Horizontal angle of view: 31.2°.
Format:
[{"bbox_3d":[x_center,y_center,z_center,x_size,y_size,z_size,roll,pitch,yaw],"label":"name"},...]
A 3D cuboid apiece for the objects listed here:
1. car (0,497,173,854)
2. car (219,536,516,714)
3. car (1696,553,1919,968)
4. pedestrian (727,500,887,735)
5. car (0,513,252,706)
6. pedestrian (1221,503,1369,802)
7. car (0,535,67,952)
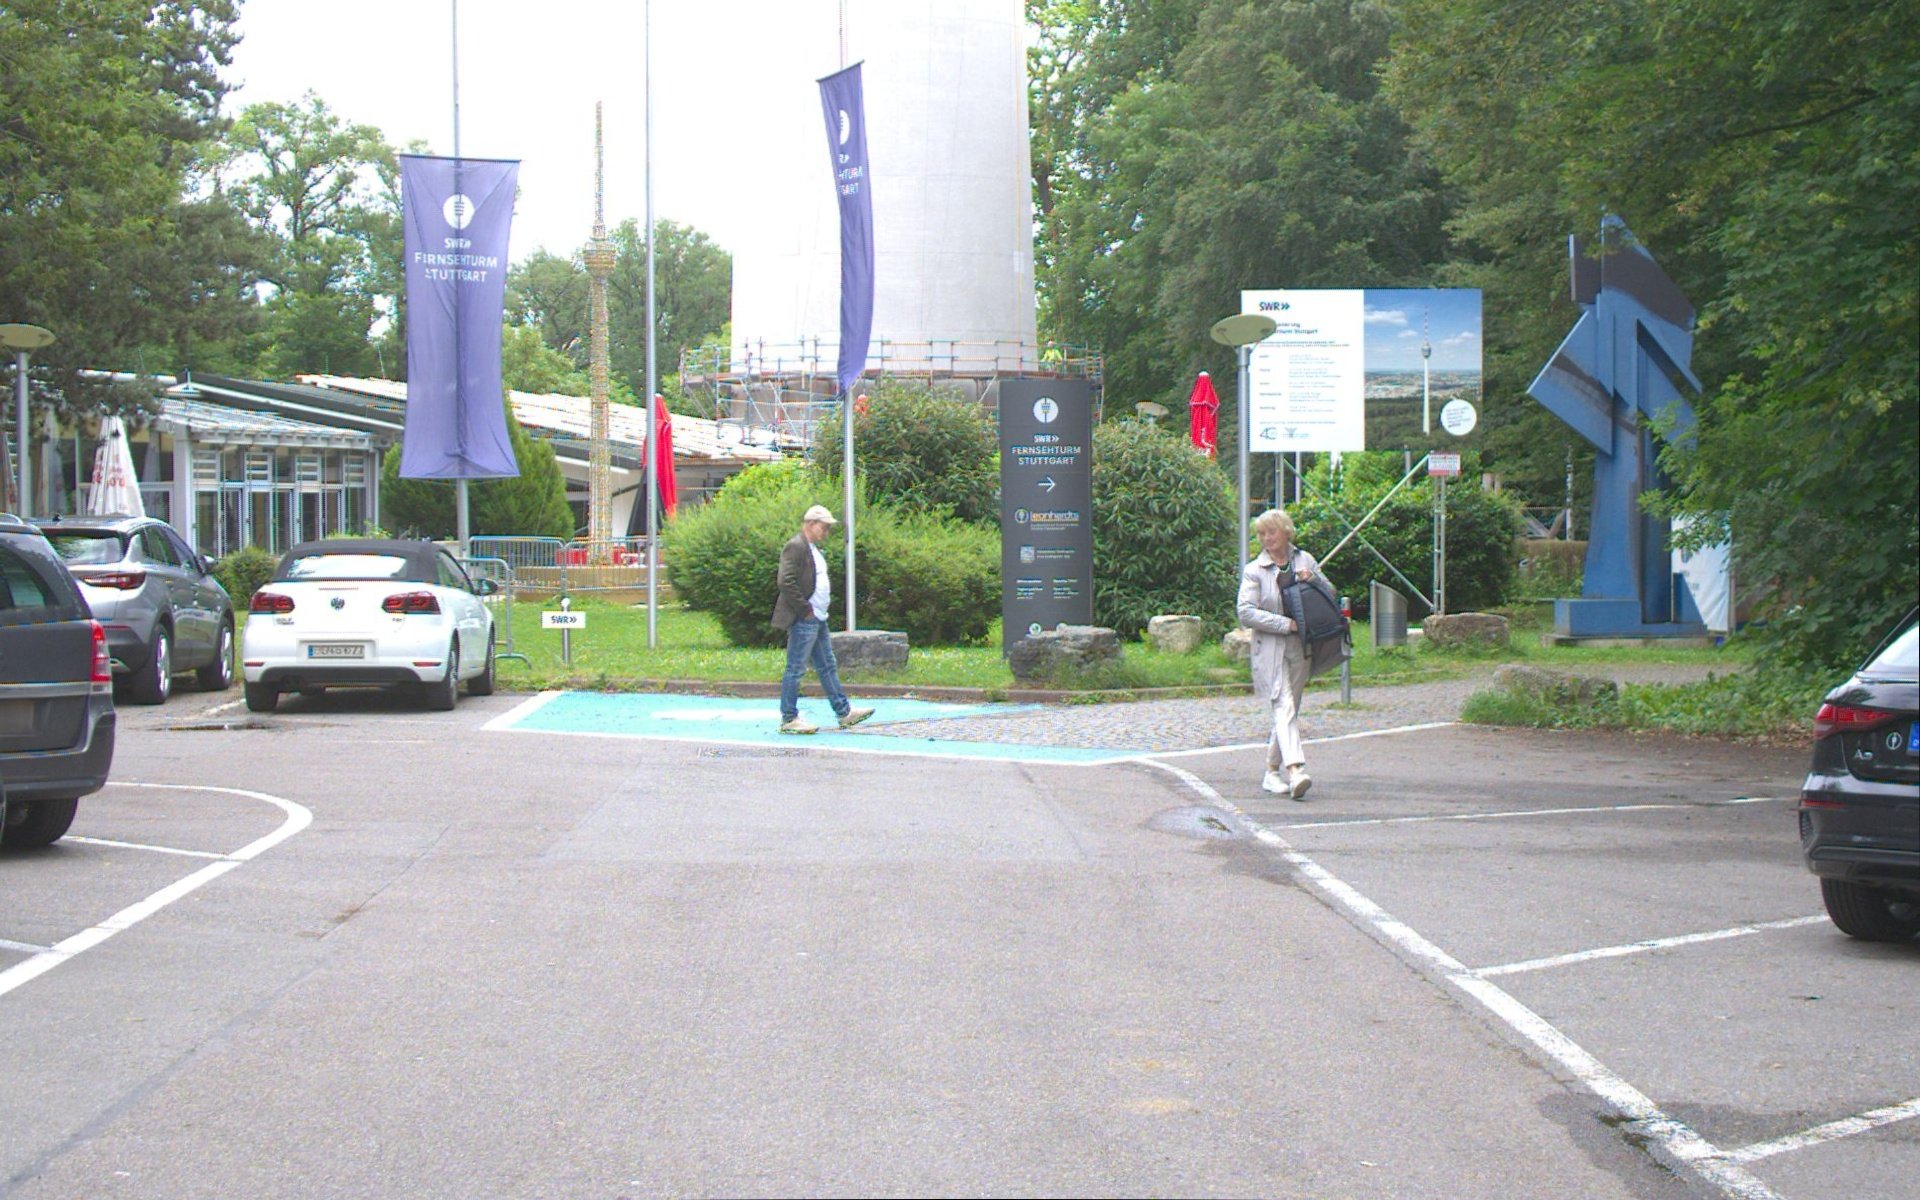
[{"bbox_3d":[-5.921,0.304,16.898,4.384,1.603,1.825,1,1,42],"label":"car"},{"bbox_3d":[-5.056,0.173,29.820,1.893,1.423,4.000,1,1,0],"label":"car"},{"bbox_3d":[4.895,0.580,13.626,1.898,1.457,4.194,2,1,44],"label":"car"},{"bbox_3d":[-1.137,0.118,25.660,0.896,1.719,0.763,1,1,35],"label":"pedestrian"},{"bbox_3d":[-7.642,0.047,30.475,1.893,1.579,4.000,1,1,0],"label":"car"},{"bbox_3d":[1.964,0.298,20.268,0.762,1.719,0.897,1,1,0],"label":"pedestrian"},{"bbox_3d":[-5.315,0.464,12.848,4.275,1.438,1.755,1,1,42],"label":"car"}]
